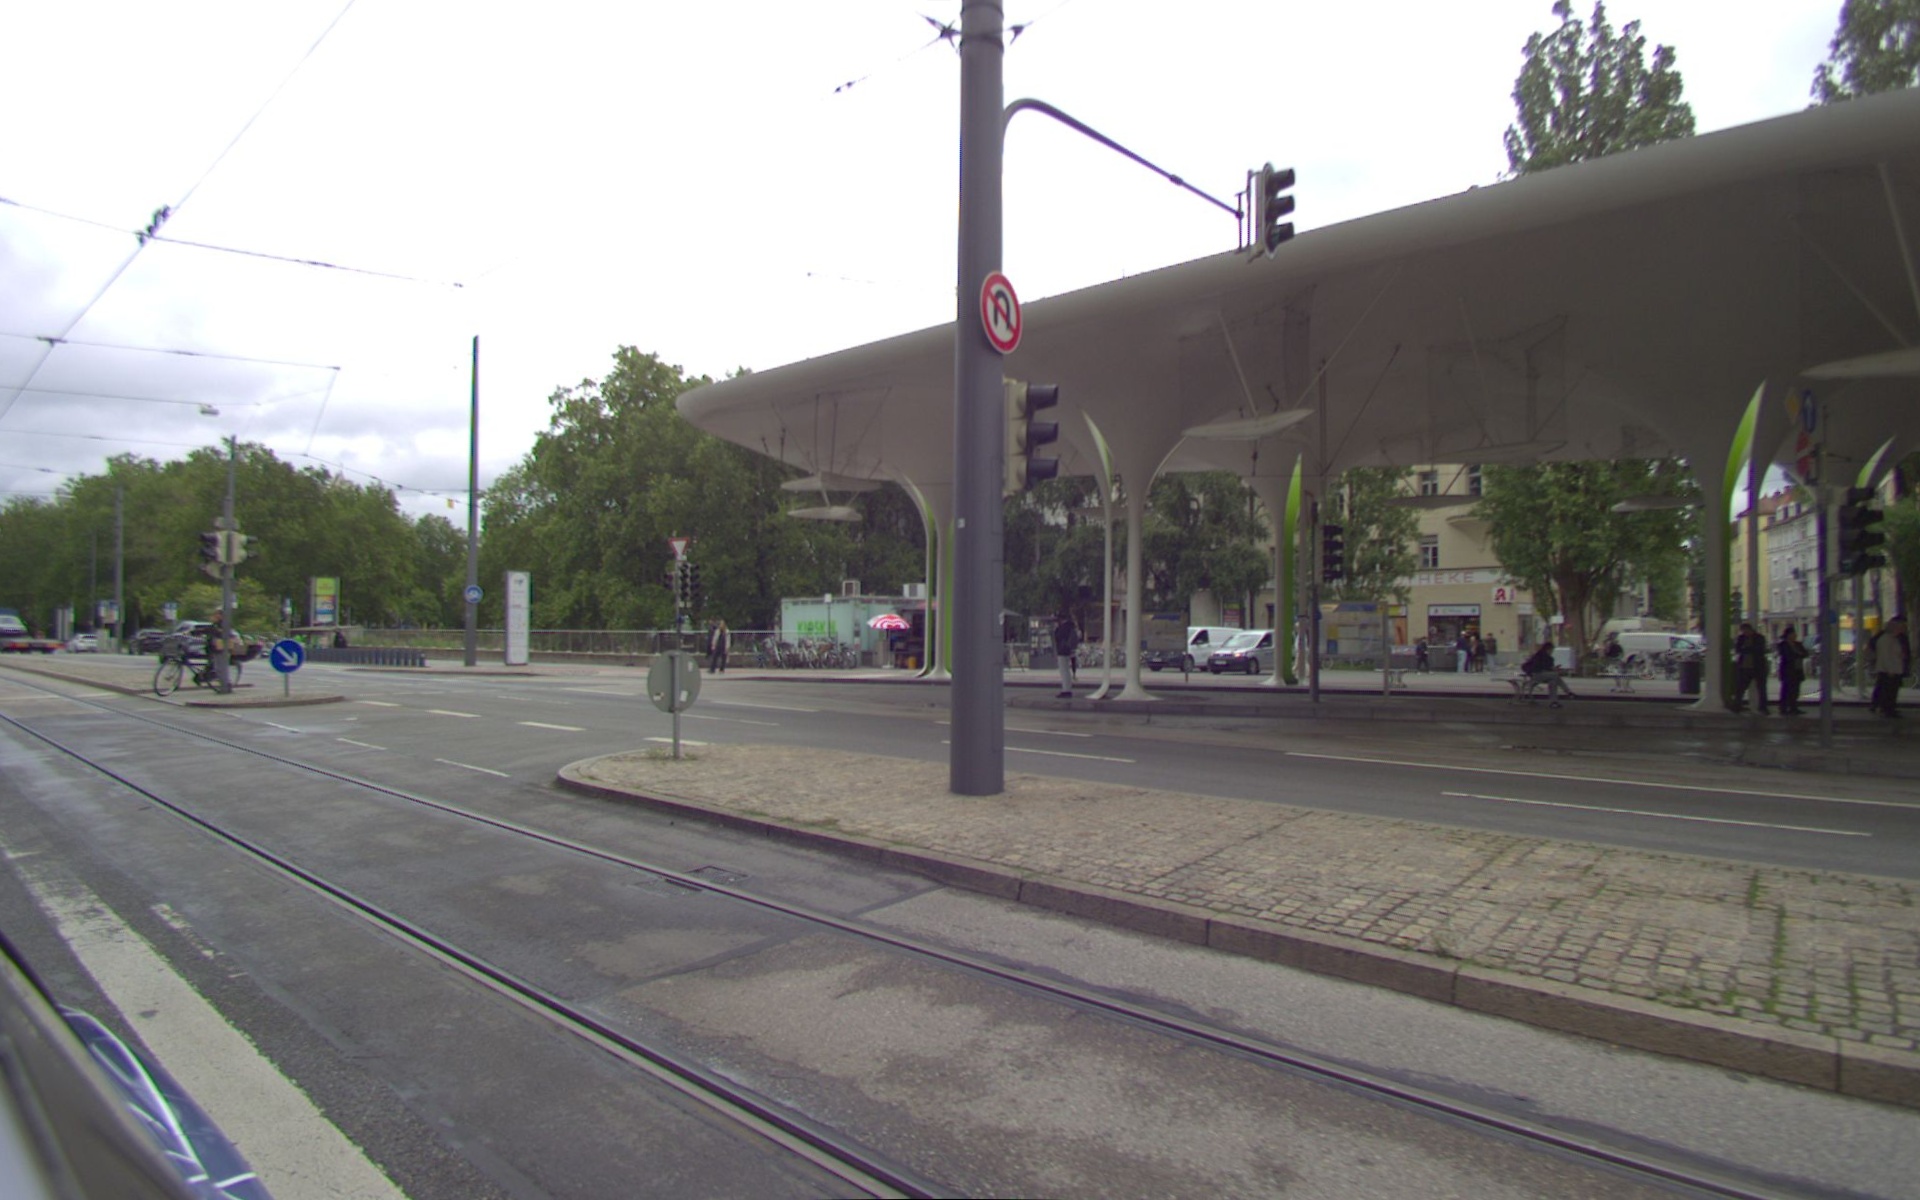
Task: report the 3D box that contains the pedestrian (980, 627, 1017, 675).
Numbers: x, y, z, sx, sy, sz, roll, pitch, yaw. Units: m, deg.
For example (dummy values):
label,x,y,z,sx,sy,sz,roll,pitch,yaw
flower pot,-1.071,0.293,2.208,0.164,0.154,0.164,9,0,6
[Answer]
label,x,y,z,sx,sy,sz,roll,pitch,yaw
pedestrian,1.443,1.886,37.662,0.957,1.776,1.017,-2,-3,44

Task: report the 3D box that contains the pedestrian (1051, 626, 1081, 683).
label,x,y,z,sx,sy,sz,roll,pitch,yaw
pedestrian,3.071,1.569,29.273,0.830,1.622,0.745,0,-2,10

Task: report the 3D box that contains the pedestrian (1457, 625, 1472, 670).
label,x,y,z,sx,sy,sz,roll,pitch,yaw
pedestrian,23.138,2.166,46.436,0.457,2.029,0.575,-2,0,38

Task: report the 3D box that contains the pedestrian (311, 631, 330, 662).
label,x,y,z,sx,sy,sz,roll,pitch,yaw
pedestrian,-32.345,2.346,51.209,0.589,1.570,0.624,-2,-3,40

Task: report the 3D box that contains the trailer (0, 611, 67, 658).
label,x,y,z,sx,sy,sz,roll,pitch,yaw
trailer,-60.615,2.243,64.774,15.624,2.703,2.584,-2,-4,39

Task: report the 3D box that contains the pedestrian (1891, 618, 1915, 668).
label,x,y,z,sx,sy,sz,roll,pitch,yaw
pedestrian,39.096,1.777,41.959,0.658,2.029,0.574,1,-2,-35

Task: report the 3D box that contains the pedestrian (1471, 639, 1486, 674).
label,x,y,z,sx,sy,sz,roll,pitch,yaw
pedestrian,24.140,2.613,47.122,0.458,1.603,0.517,-1,0,39

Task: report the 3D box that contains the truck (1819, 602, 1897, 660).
label,x,y,z,sx,sy,sz,roll,pitch,yaw
truck,42.115,1.478,47.613,2.438,2.532,7.087,-2,-3,40

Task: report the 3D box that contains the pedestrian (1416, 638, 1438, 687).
label,x,y,z,sx,sy,sz,roll,pitch,yaw
pedestrian,19.475,2.585,42.203,0.691,2.029,0.691,-1,-2,34

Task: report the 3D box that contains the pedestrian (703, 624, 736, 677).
label,x,y,z,sx,sy,sz,roll,pitch,yaw
pedestrian,-7.539,1.573,31.768,0.737,1.641,0.734,-1,-2,20

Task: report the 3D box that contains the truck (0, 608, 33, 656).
label,x,y,z,sx,sy,sz,roll,pitch,yaw
truck,-65.905,2.209,69.182,7.683,3.111,2.540,-2,-4,40

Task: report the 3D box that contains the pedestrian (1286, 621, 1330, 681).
label,x,y,z,sx,sy,sz,roll,pitch,yaw
pedestrian,12.047,1.736,35.004,0.987,2.029,1.030,1,-2,-33

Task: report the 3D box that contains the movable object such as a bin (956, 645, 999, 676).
label,x,y,z,sx,sy,sz,roll,pitch,yaw
movable object such as a bin,0.639,2.192,36.828,0.957,1.092,1.318,-2,-3,44

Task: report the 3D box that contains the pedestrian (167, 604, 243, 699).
label,x,y,z,sx,sy,sz,roll,pitch,yaw
pedestrian,-14.869,0.997,19.950,0.890,1.825,0.856,0,-1,18

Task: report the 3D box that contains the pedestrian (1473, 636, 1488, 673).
label,x,y,z,sx,sy,sz,roll,pitch,yaw
pedestrian,23.684,2.465,46.046,0.457,1.638,0.575,-2,0,38

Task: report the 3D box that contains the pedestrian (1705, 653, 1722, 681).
label,x,y,z,sx,sy,sz,roll,pitch,yaw
pedestrian,29.208,2.588,39.229,0.461,1.091,0.404,1,-2,-35

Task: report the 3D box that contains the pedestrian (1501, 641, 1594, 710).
label,x,y,z,sx,sy,sz,roll,pitch,yaw
pedestrian,11.134,1.401,19.215,0.799,1.239,1.274,1,-2,-30

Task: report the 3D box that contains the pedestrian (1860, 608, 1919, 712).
label,x,y,z,sx,sy,sz,roll,pitch,yaw
pedestrian,17.381,1.104,18.743,0.874,1.887,0.706,-1,-2,27

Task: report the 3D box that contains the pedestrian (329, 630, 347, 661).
label,x,y,z,sx,sy,sz,roll,pitch,yaw
pedestrian,-31.887,2.336,51.870,0.589,1.570,0.624,-2,-3,40

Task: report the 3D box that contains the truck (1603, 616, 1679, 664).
label,x,y,z,sx,sy,sz,roll,pitch,yaw
truck,38.672,2.246,57.412,5.269,2.643,2.295,2,-2,-42

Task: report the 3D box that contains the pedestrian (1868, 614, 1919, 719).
label,x,y,z,sx,sy,sz,roll,pitch,yaw
pedestrian,16.100,1.114,17.205,0.667,1.741,0.805,0,-2,18

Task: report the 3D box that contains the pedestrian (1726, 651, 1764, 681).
label,x,y,z,sx,sy,sz,roll,pitch,yaw
pedestrian,29.829,2.504,38.452,1.810,1.091,0.618,1,-2,-35

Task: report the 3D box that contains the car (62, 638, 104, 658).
label,x,y,z,sx,sy,sz,roll,pitch,yaw
car,-66.816,3.639,77.109,3.998,1.542,1.868,-2,-3,42

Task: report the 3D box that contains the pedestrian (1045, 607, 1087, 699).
label,x,y,z,sx,sy,sz,roll,pitch,yaw
pedestrian,2.173,1.077,20.749,0.802,1.853,0.664,0,-2,10

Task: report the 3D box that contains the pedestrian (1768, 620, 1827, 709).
label,x,y,z,sx,sy,sz,roll,pitch,yaw
pedestrian,15.011,1.148,18.157,0.633,1.557,0.589,-1,-2,24

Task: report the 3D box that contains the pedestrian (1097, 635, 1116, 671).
label,x,y,z,sx,sy,sz,roll,pitch,yaw
pedestrian,6.665,2.407,45.957,0.636,1.594,0.627,-2,-2,41

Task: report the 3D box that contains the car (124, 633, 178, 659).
label,x,y,z,sx,sy,sz,roll,pitch,yaw
car,-50.771,2.868,63.484,4.099,1.582,1.973,-2,-3,41

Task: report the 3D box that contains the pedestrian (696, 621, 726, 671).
label,x,y,z,sx,sy,sz,roll,pitch,yaw
pedestrian,-8.800,1.627,35.740,0.725,1.729,0.862,2,-2,-38

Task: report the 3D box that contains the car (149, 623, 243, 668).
label,x,y,z,sx,sy,sz,roll,pitch,yaw
car,-29.845,1.787,39.504,4.674,1.651,1.844,-1,-4,40

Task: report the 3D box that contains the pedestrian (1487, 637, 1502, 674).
label,x,y,z,sx,sy,sz,roll,pitch,yaw
pedestrian,24.482,2.535,46.373,0.457,1.638,0.575,-2,0,38

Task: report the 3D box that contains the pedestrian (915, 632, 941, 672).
label,x,y,z,sx,sy,sz,roll,pitch,yaw
pedestrian,-1.287,2.094,40.816,0.728,1.612,0.799,1,-2,-34
